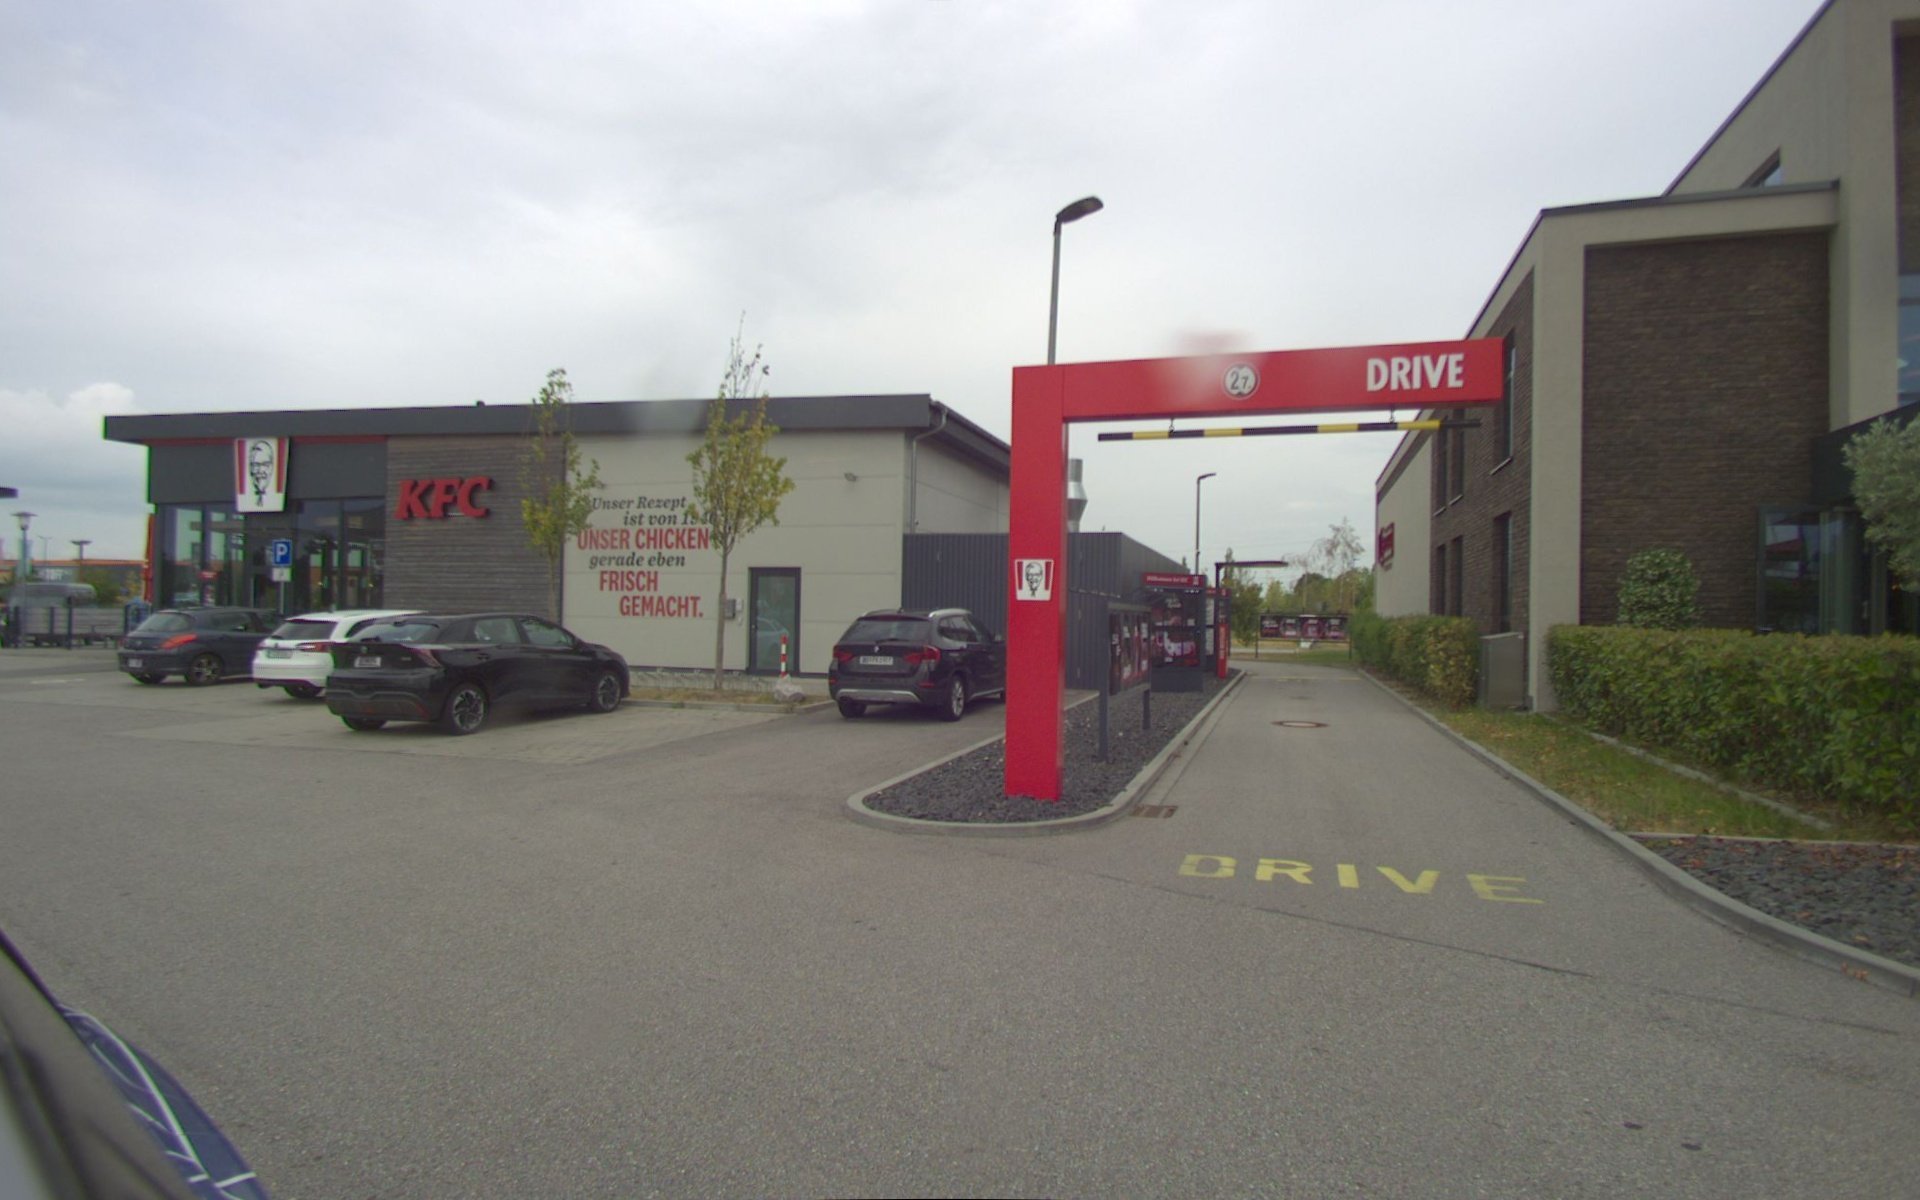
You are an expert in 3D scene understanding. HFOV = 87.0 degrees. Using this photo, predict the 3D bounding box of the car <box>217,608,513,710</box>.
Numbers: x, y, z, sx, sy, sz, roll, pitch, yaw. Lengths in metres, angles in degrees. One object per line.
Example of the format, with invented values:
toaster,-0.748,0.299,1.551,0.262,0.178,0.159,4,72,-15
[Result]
car,-10.174,0.942,17.714,1.985,1.497,4.152,1,-1,19

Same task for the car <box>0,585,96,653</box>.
car,-37.558,0.816,41.605,2.038,2.573,7.033,0,-2,-32

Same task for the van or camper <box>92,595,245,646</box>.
van or camper,-44.404,1.130,57.000,6.459,2.721,2.179,0,-2,-23

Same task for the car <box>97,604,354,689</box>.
car,-14.630,0.850,20.418,1.745,1.498,3.914,-1,0,19

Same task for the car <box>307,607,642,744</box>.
car,-6.309,0.905,13.729,1.728,1.540,4.097,0,-1,19

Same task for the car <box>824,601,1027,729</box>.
car,-0.357,0.849,15.049,1.722,1.608,3.975,0,-1,19
